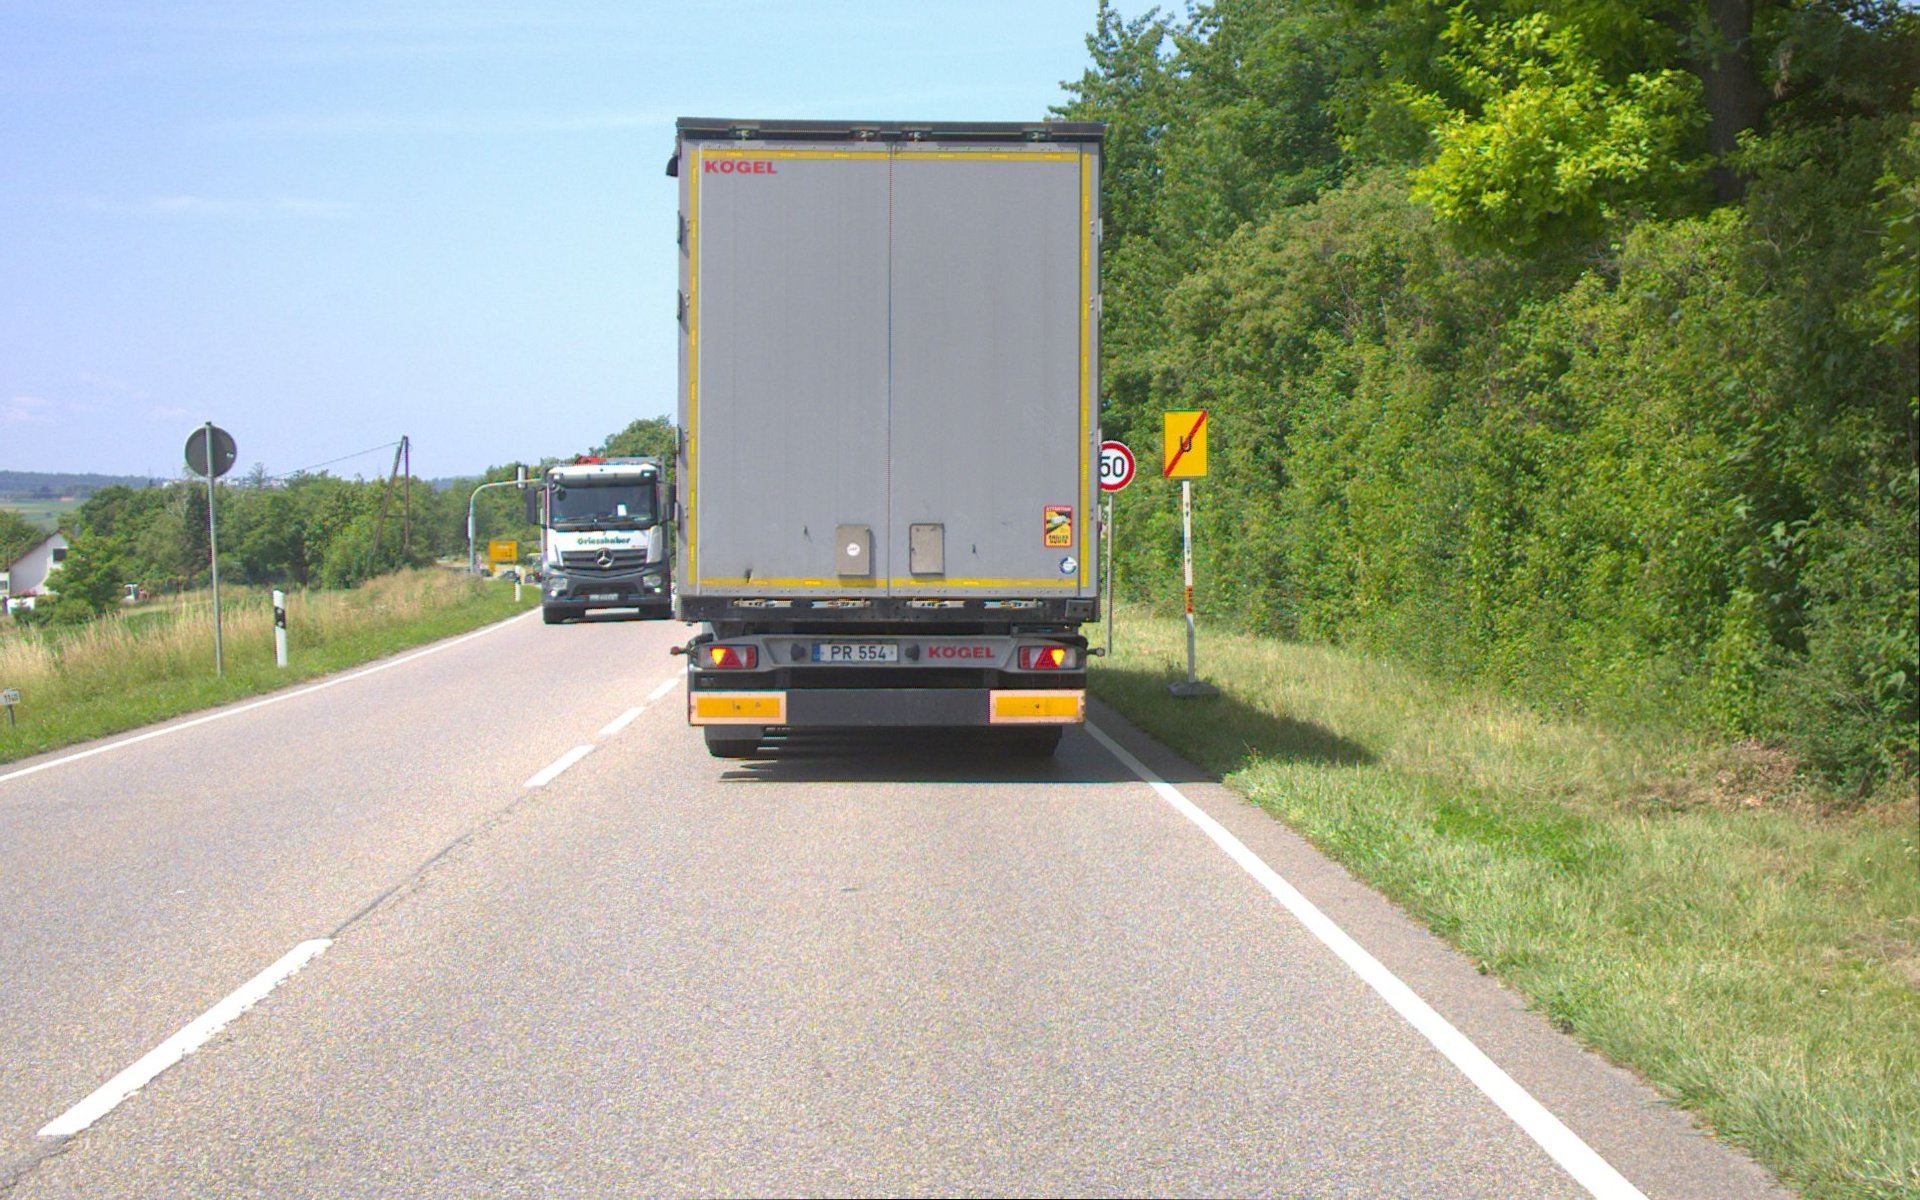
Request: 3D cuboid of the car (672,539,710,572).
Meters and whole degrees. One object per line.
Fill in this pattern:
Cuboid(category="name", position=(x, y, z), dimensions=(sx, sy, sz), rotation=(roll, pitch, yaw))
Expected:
Cuboid(category="car", position=(-15.169, -2.507, 193.700), dimensions=(1.892, 1.771, 4.387), rotation=(-3, 1, -6))

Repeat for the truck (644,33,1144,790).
Cuboid(category="truck", position=(-0.661, -1.181, 24.493), dimensions=(2.907, 4.394, 8.861), rotation=(0, 1, -4))

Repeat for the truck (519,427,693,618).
Cuboid(category="truck", position=(-7.278, -1.591, 72.095), dimensions=(2.756, 3.564, 11.066), rotation=(-3, 1, -2))

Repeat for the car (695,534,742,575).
Cuboid(category="car", position=(-12.528, -2.362, 177.879), dimensions=(2.171, 2.007, 4.527), rotation=(-3, 1, -6))
